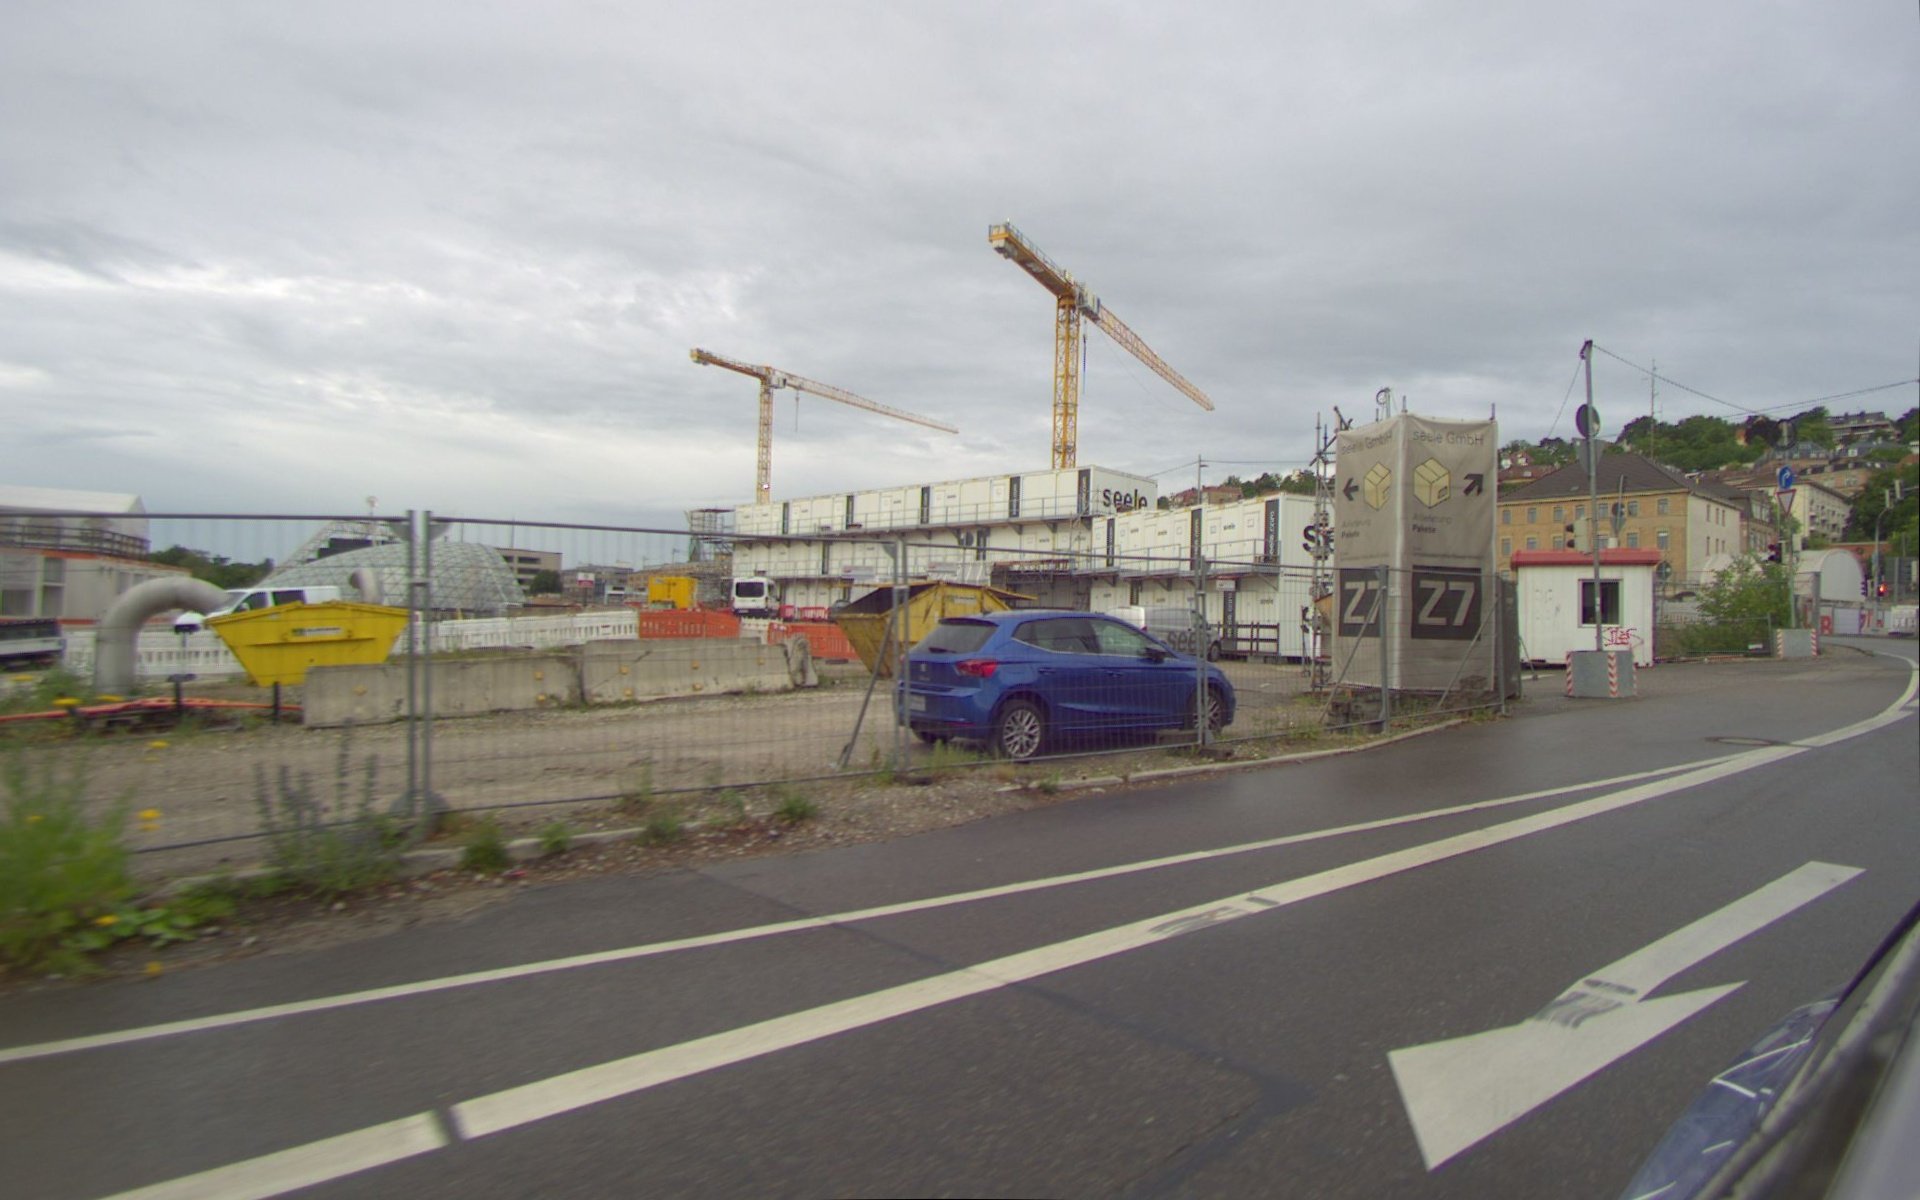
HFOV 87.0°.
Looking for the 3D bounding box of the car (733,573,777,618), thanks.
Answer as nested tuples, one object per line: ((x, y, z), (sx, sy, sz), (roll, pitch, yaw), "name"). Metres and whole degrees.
((-11.450, -0.304, 56.725), (2.107, 2.413, 4.410), (1, 1, -8), "car")

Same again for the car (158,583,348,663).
((-23.223, 0.654, 33.541), (1.925, 2.306, 5.245), (2, 2, 12), "car")

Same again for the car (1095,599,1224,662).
((6.789, 0.978, 34.125), (4.578, 1.925, 2.014), (1, 1, -45), "car")

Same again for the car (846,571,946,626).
((-3.009, -0.095, 48.495), (1.991, 2.472, 4.913), (2, 1, 39), "car")

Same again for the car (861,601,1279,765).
((1.274, 0.778, 10.988), (4.327, 1.460, 1.839), (0, -2, -33), "car")

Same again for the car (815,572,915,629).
((-4.650, -0.006, 50.235), (1.991, 2.591, 4.913), (3, 2, 39), "car")

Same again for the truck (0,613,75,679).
((-31.816, 1.580, 34.231), (2.366, 2.080, 5.559), (1, -3, -37), "truck")

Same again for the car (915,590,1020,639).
((0.392, 0.582, 44.512), (1.991, 1.910, 4.913), (3, 2, 39), "car")
